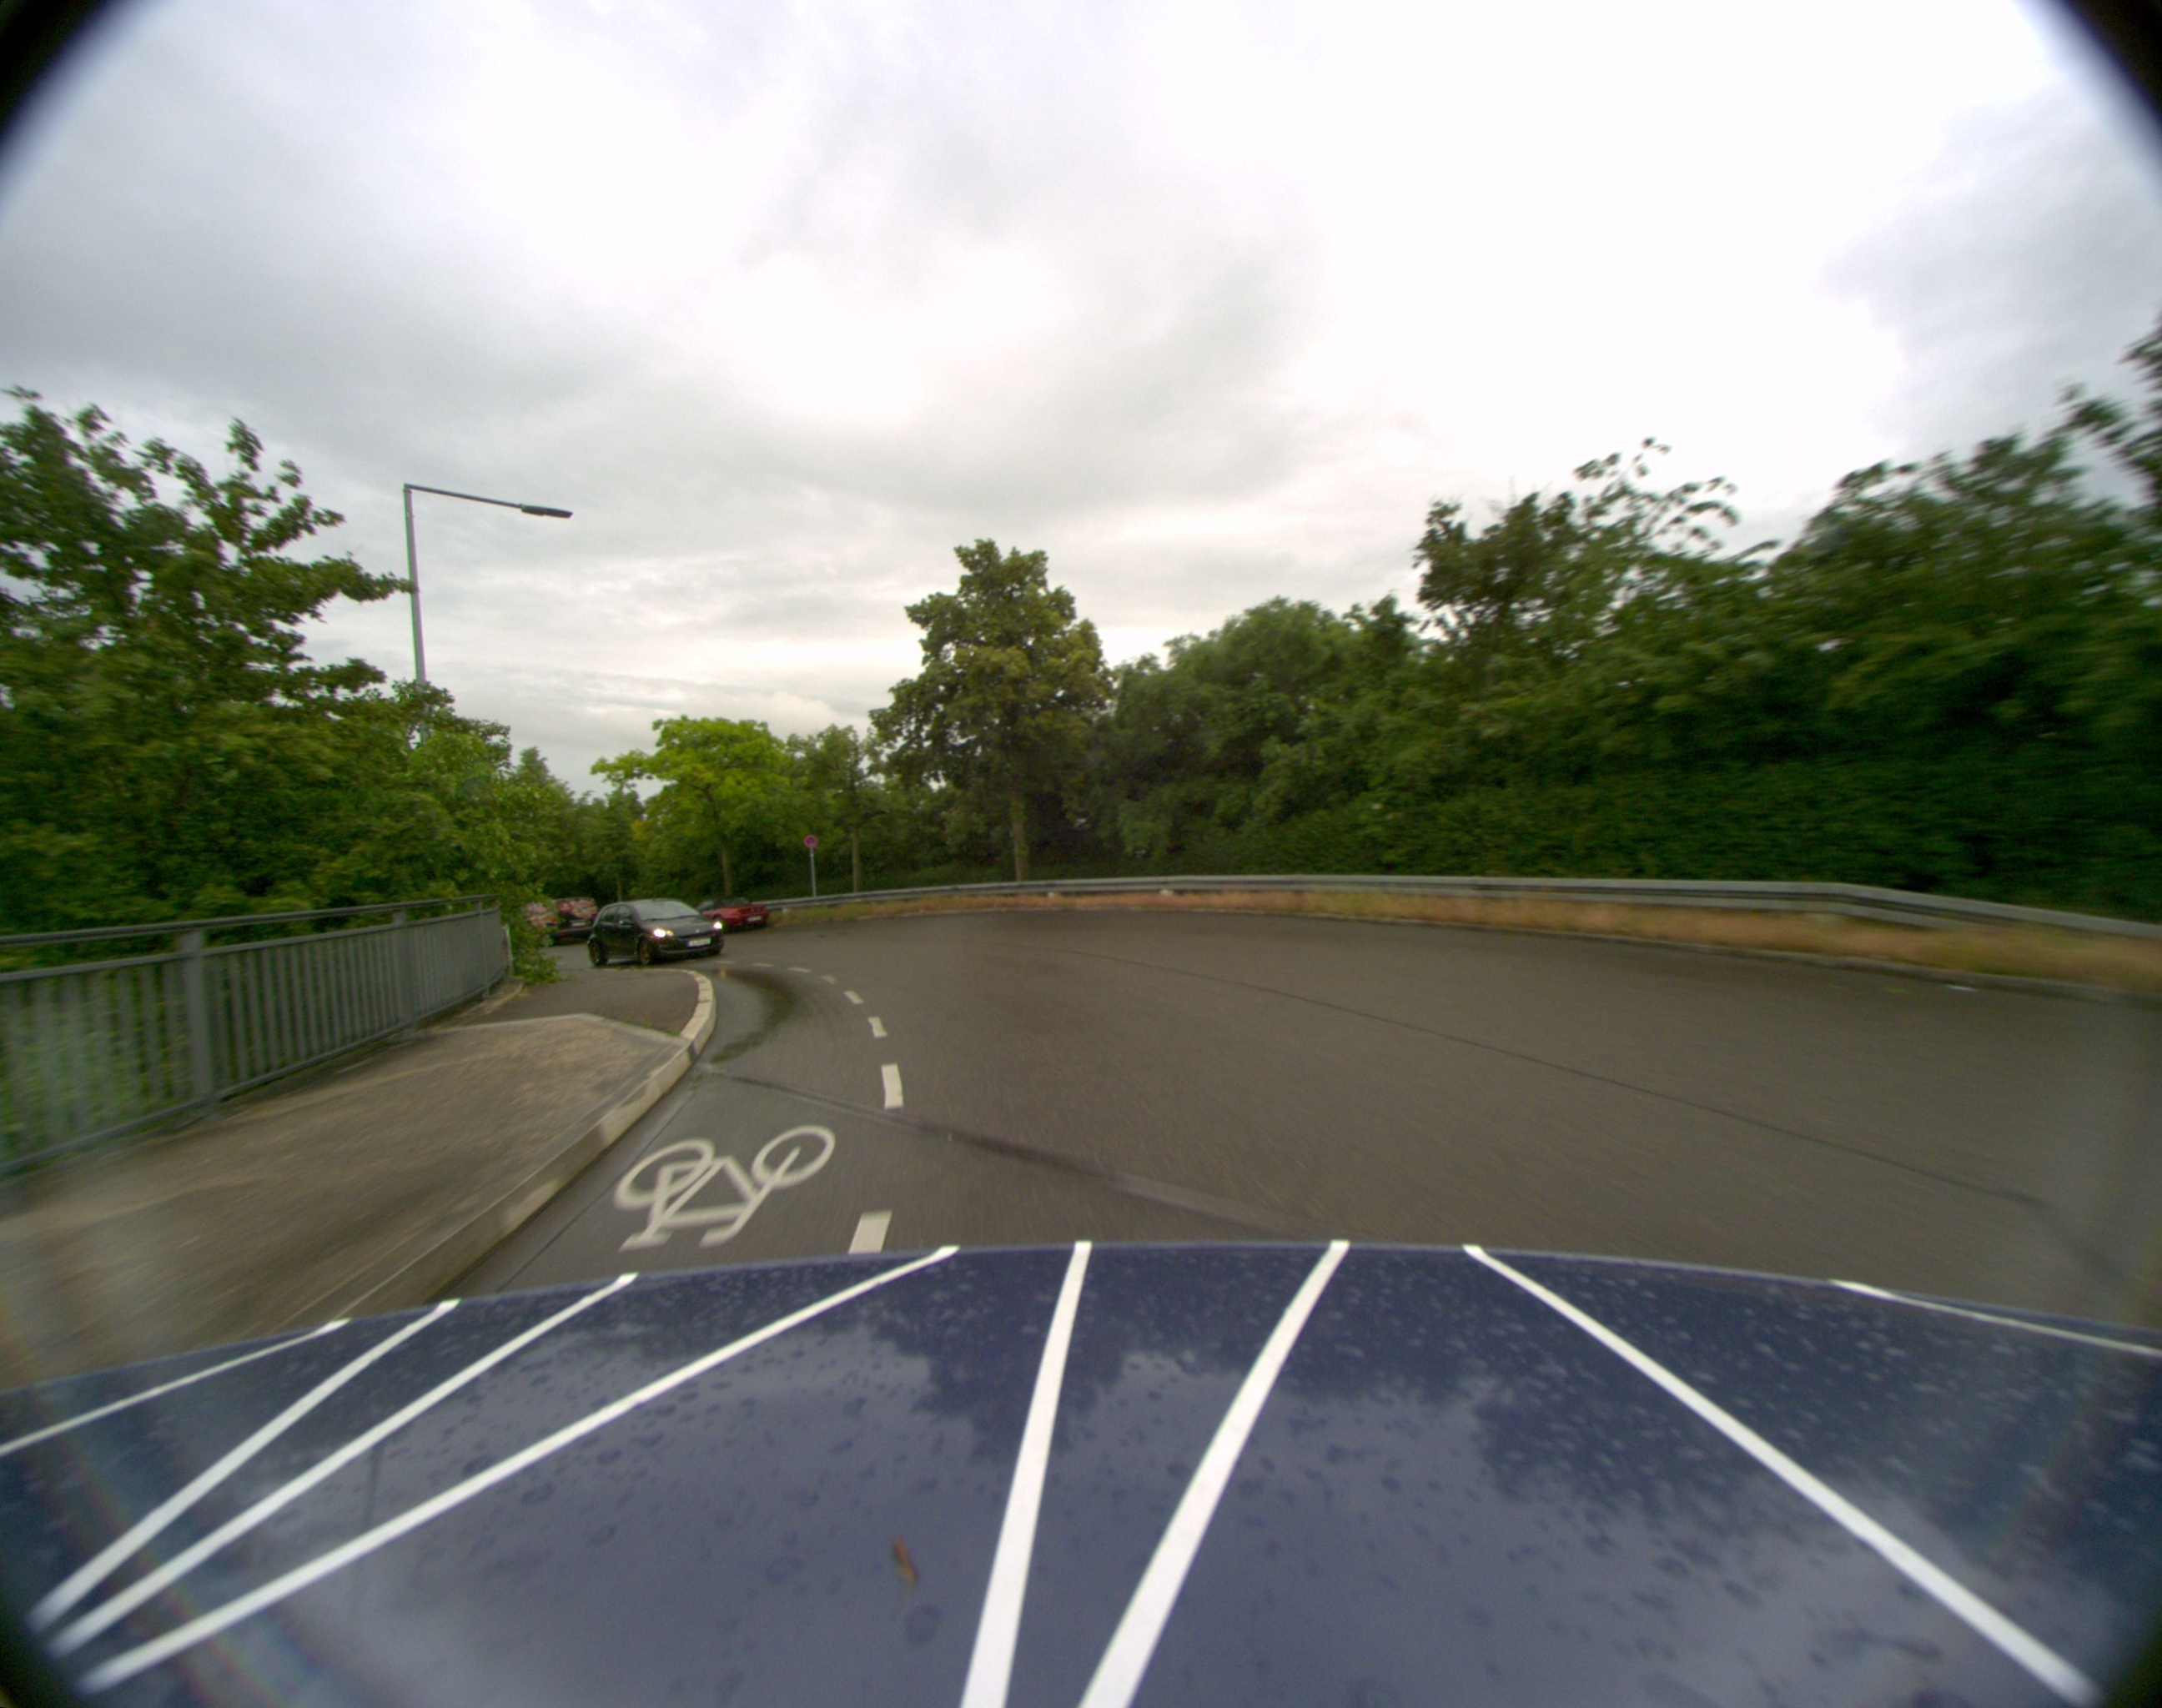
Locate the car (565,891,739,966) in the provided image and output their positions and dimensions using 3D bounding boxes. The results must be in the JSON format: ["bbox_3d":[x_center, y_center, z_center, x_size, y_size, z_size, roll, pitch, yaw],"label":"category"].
[{"bbox_3d":[-10.160,1.778,17.892,4.373,1.417,1.809,-7,-5,34],"label":"car"}]

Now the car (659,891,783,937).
[{"bbox_3d":[-12.872,2.138,27.096,4.315,1.289,1.798,-5,0,31],"label":"car"}]

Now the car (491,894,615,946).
[{"bbox_3d":[-22.610,2.843,32.482,5.368,1.808,2.094,-5,0,29],"label":"car"}]
